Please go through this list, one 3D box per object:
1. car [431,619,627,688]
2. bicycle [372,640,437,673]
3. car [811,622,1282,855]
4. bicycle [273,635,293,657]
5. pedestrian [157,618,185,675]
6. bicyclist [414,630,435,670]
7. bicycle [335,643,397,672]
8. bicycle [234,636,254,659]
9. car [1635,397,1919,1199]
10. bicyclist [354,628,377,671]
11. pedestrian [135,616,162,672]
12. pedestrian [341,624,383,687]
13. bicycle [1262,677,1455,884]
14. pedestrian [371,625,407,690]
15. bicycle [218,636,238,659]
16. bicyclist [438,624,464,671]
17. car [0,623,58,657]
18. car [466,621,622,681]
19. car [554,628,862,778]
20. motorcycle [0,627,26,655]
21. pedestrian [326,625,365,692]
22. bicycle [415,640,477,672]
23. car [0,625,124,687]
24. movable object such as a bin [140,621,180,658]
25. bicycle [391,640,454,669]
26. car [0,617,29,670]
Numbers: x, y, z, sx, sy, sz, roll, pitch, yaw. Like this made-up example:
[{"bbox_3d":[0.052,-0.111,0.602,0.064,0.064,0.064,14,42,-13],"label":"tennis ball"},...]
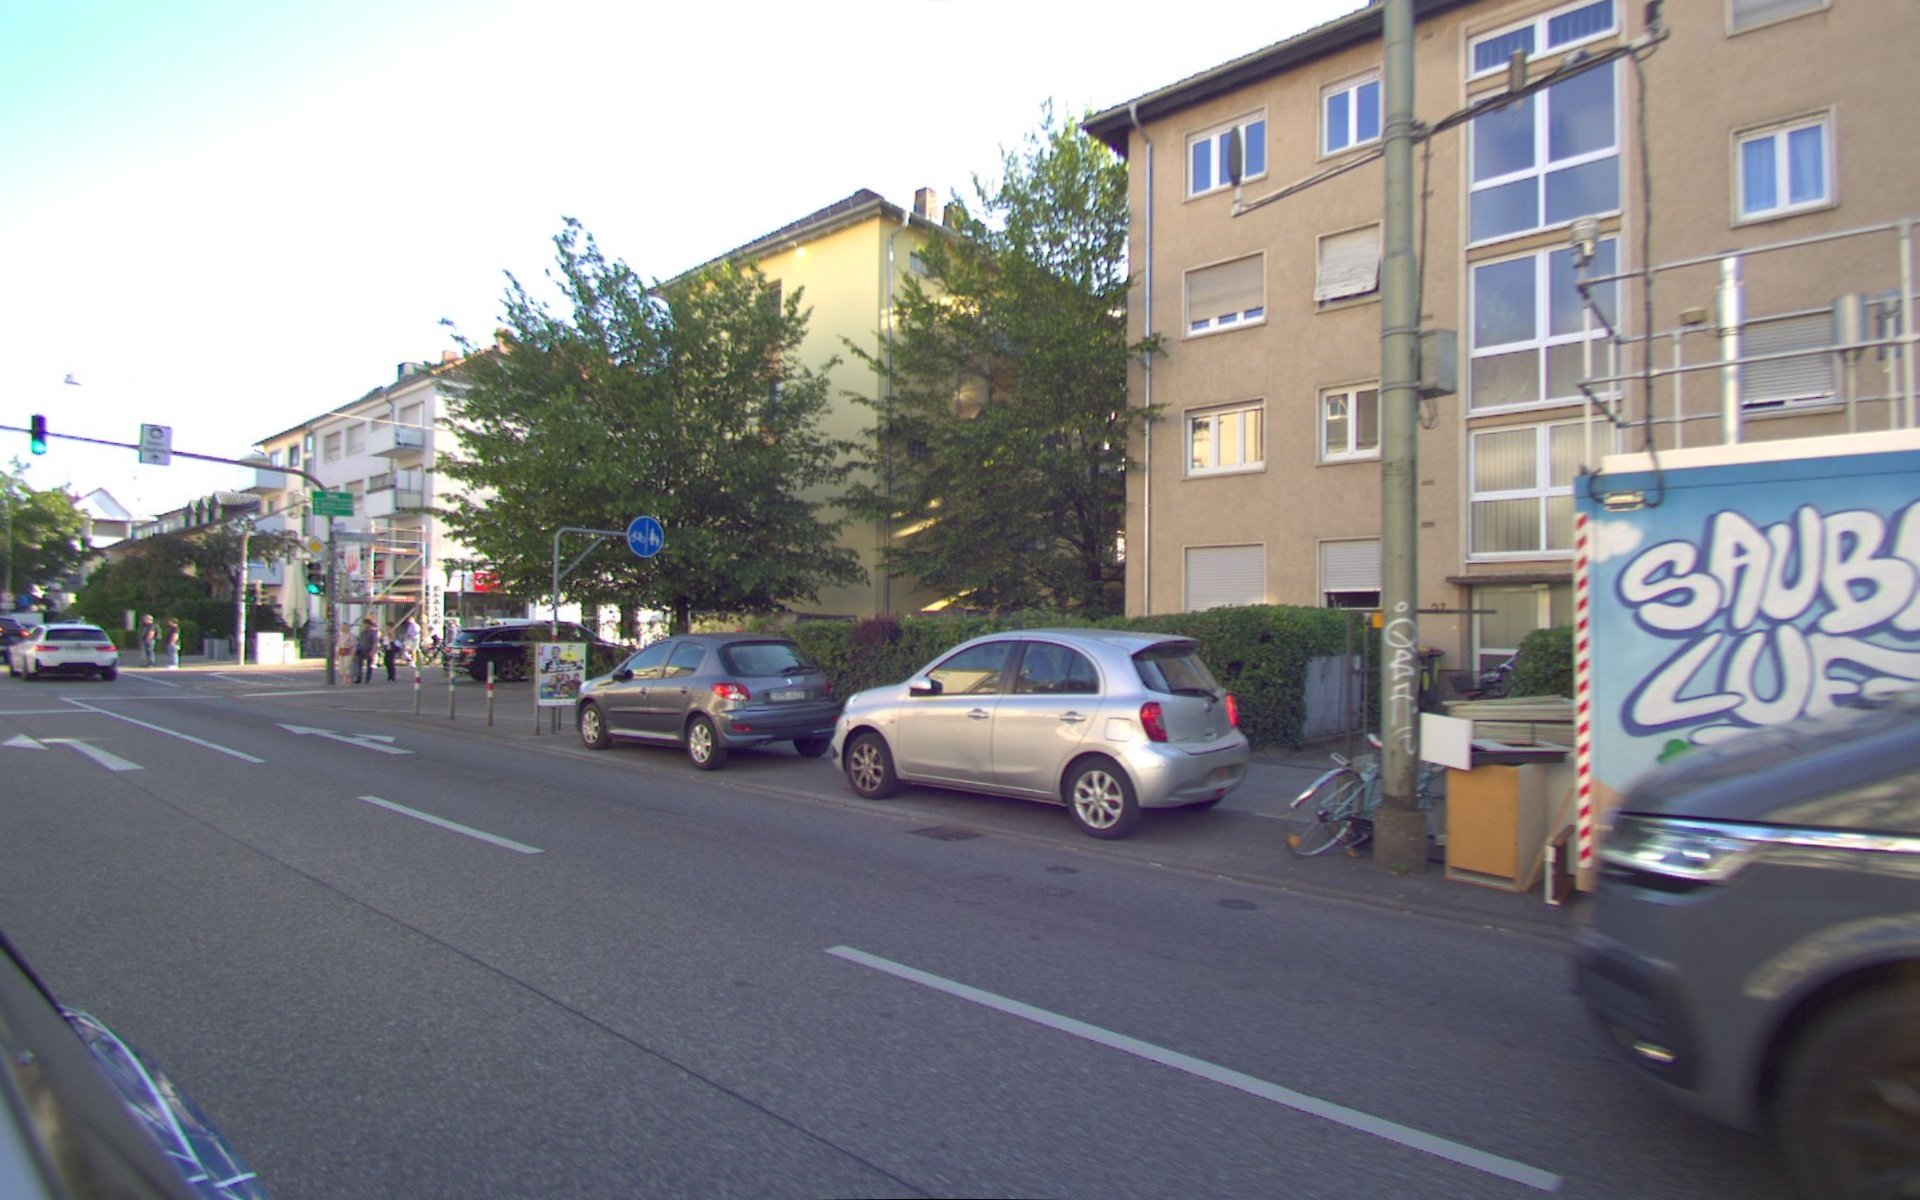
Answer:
[{"bbox_3d":[-11.452,1.370,27.177,1.841,1.626,4.546,-1,-1,38],"label":"car"},{"bbox_3d":[-20.431,2.060,37.266,0.726,1.175,1.975,-3,-3,35],"label":"bicycle"},{"bbox_3d":[0.607,0.983,8.658,3.783,1.564,1.620,-1,-3,40],"label":"car"},{"bbox_3d":[-31.832,2.154,47.583,1.477,1.022,0.433,-1,-3,44],"label":"bicycle"},{"bbox_3d":[-28.612,1.654,36.692,0.814,2.029,0.637,0,-1,42],"label":"pedestrian"},{"bbox_3d":[-22.030,2.052,41.609,0.677,1.606,0.752,3,-1,-30],"label":"bicyclist"},{"bbox_3d":[-23.138,2.235,39.428,1.967,1.097,0.729,2,-4,-39],"label":"bicycle"},{"bbox_3d":[-32.967,2.166,46.583,1.477,1.022,0.433,-1,-3,44],"label":"bicycle"},{"bbox_3d":[4.140,0.559,1.715,4.775,1.961,1.973,-1,-5,41],"label":"car"},{"bbox_3d":[-23.162,1.934,39.420,0.662,1.666,0.751,2,-4,-39],"label":"bicyclist"},{"bbox_3d":[-30.023,1.614,37.439,0.739,2.029,0.631,-1,-3,42],"label":"pedestrian"},{"bbox_3d":[-16.015,1.477,27.097,0.607,1.670,0.741,-1,-2,34],"label":"pedestrian"},{"bbox_3d":[2.814,1.155,7.014,0.583,1.097,1.984,-2,-1,42],"label":"bicycle"},{"bbox_3d":[-15.138,1.503,26.845,0.598,1.641,0.752,-1,1,-12],"label":"pedestrian"},{"bbox_3d":[-33.390,2.156,46.158,1.477,1.022,0.433,-1,-3,44],"label":"bicycle"},{"bbox_3d":[-19.048,1.759,37.871,0.748,1.734,0.601,-2,-3,35],"label":"bicyclist"},{"bbox_3d":[-46.418,1.958,50.260,3.946,1.626,1.788,-1,-2,39],"label":"car"},{"bbox_3d":[-13.841,1.678,33.860,1.907,1.862,4.426,-1,-2,40],"label":"car"},{"bbox_3d":[-3.097,1.082,12.001,3.942,1.490,1.635,-1,-3,42],"label":"car"},{"bbox_3d":[-53.344,2.247,56.193,2.877,1.547,1.251,-1,-2,27],"label":"motorcycle"},{"bbox_3d":[-15.342,1.453,25.263,0.749,1.606,0.601,0,1,38],"label":"pedestrian"},{"bbox_3d":[-19.140,2.087,37.720,0.726,1.166,1.975,-2,-3,35],"label":"bicycle"},{"bbox_3d":[-23.630,1.443,26.575,4.669,1.485,1.817,-1,-4,41],"label":"car"},{"bbox_3d":[-38.847,1.913,49.156,1.180,1.670,1.292,0,2,41],"label":"movable object such as a bin"},{"bbox_3d":[-22.082,2.259,41.582,2.233,1.097,0.730,3,-1,-30],"label":"bicycle"},{"bbox_3d":[-35.498,1.553,36.827,5.226,1.844,1.842,-1,-4,42],"label":"car"}]
